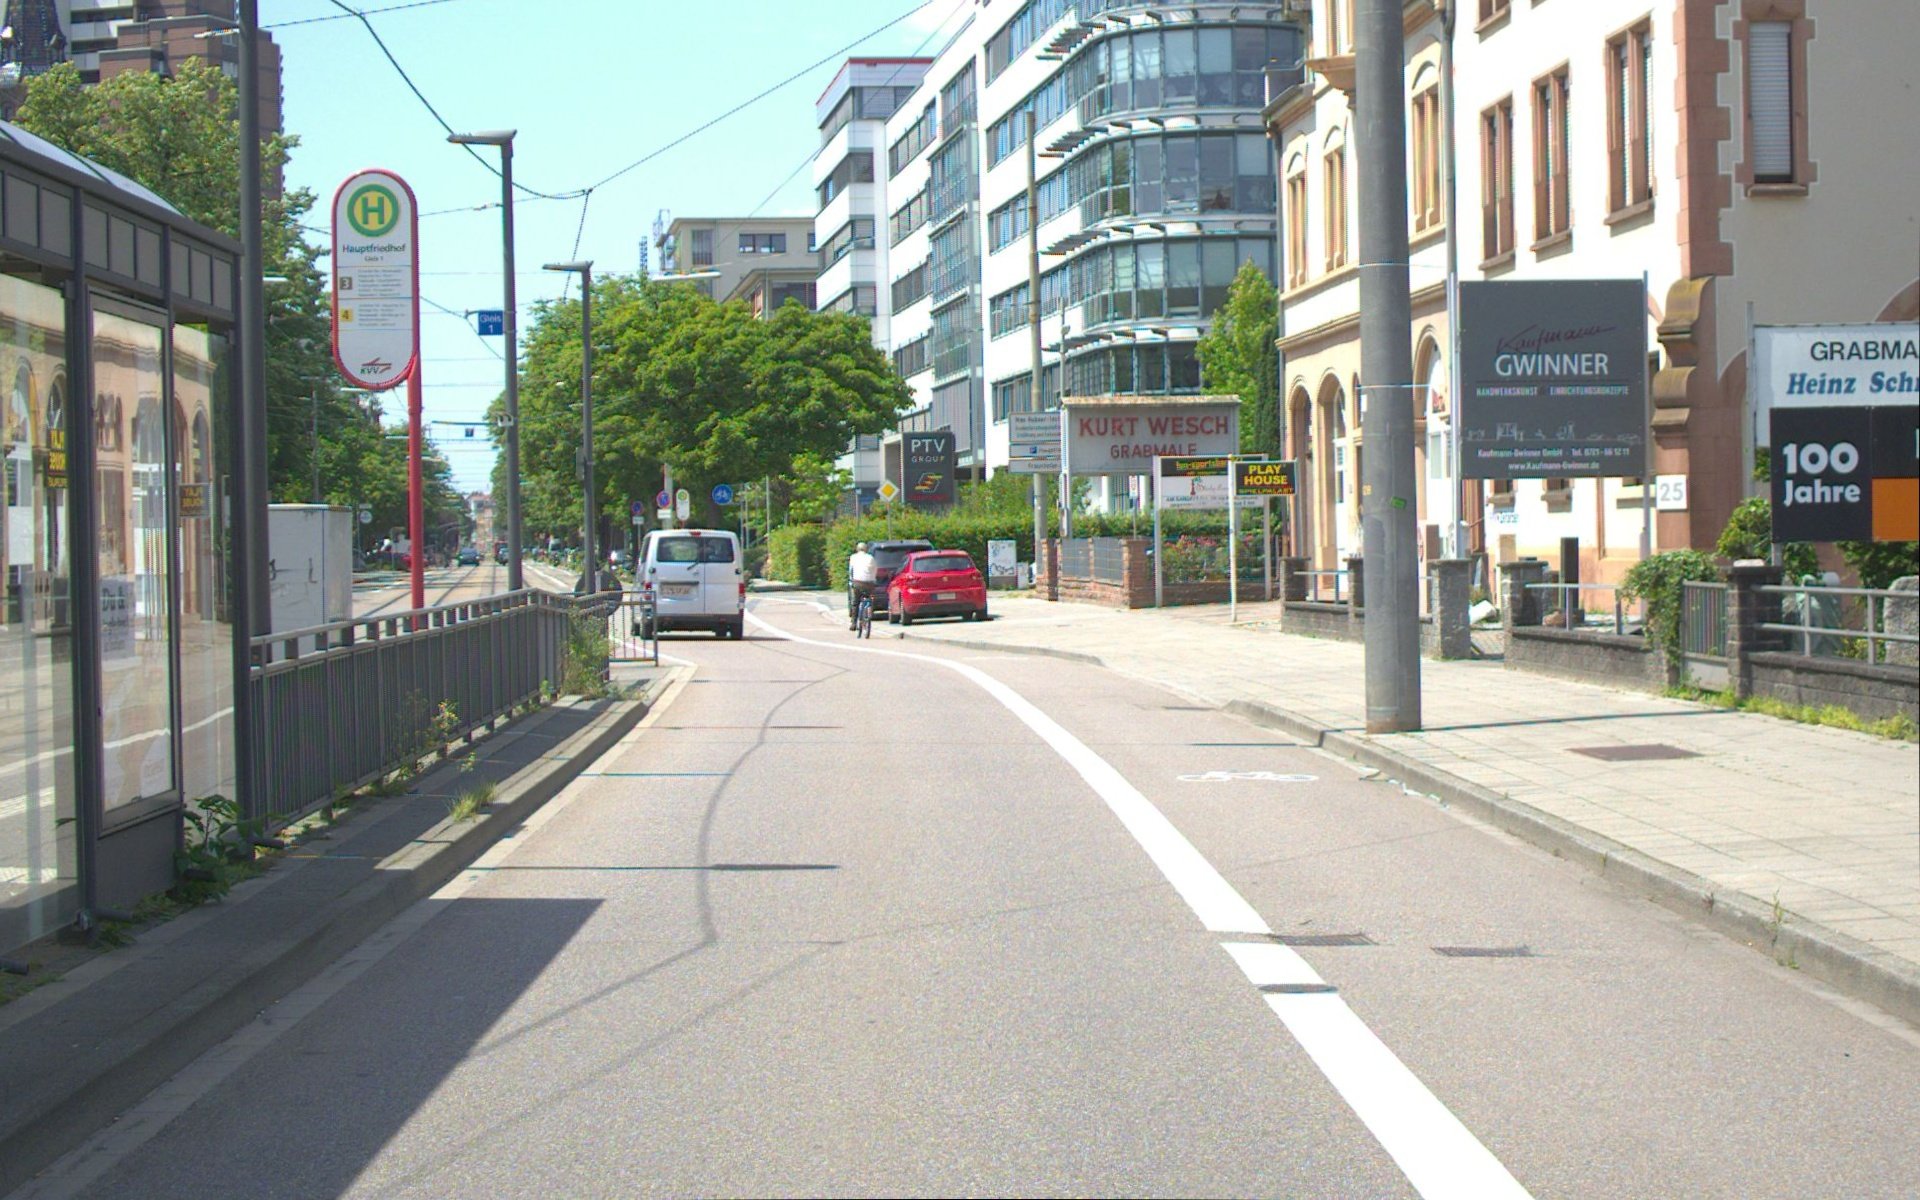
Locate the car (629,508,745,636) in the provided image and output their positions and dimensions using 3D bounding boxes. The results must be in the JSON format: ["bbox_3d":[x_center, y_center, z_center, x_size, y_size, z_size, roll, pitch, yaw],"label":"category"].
[{"bbox_3d":[-4.673,-0.516,58.410,1.752,2.006,4.001,-2,2,-6],"label":"car"}]

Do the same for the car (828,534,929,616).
[{"bbox_3d":[-1.825,-0.577,75.418,1.863,1.681,5.001,-2,1,-5],"label":"car"}]

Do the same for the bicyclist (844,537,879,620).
[{"bbox_3d":[-1.684,-0.375,58.836,0.591,1.392,0.842,-1,1,-2],"label":"bicyclist"}]

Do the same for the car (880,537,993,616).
[{"bbox_3d":[-0.503,-0.492,69.189,1.711,1.447,4.073,-3,2,-7],"label":"car"}]

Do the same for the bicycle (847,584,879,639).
[{"bbox_3d":[-1.664,0.190,59.004,0.465,0.884,2.048,-1,1,-4],"label":"bicycle"}]
